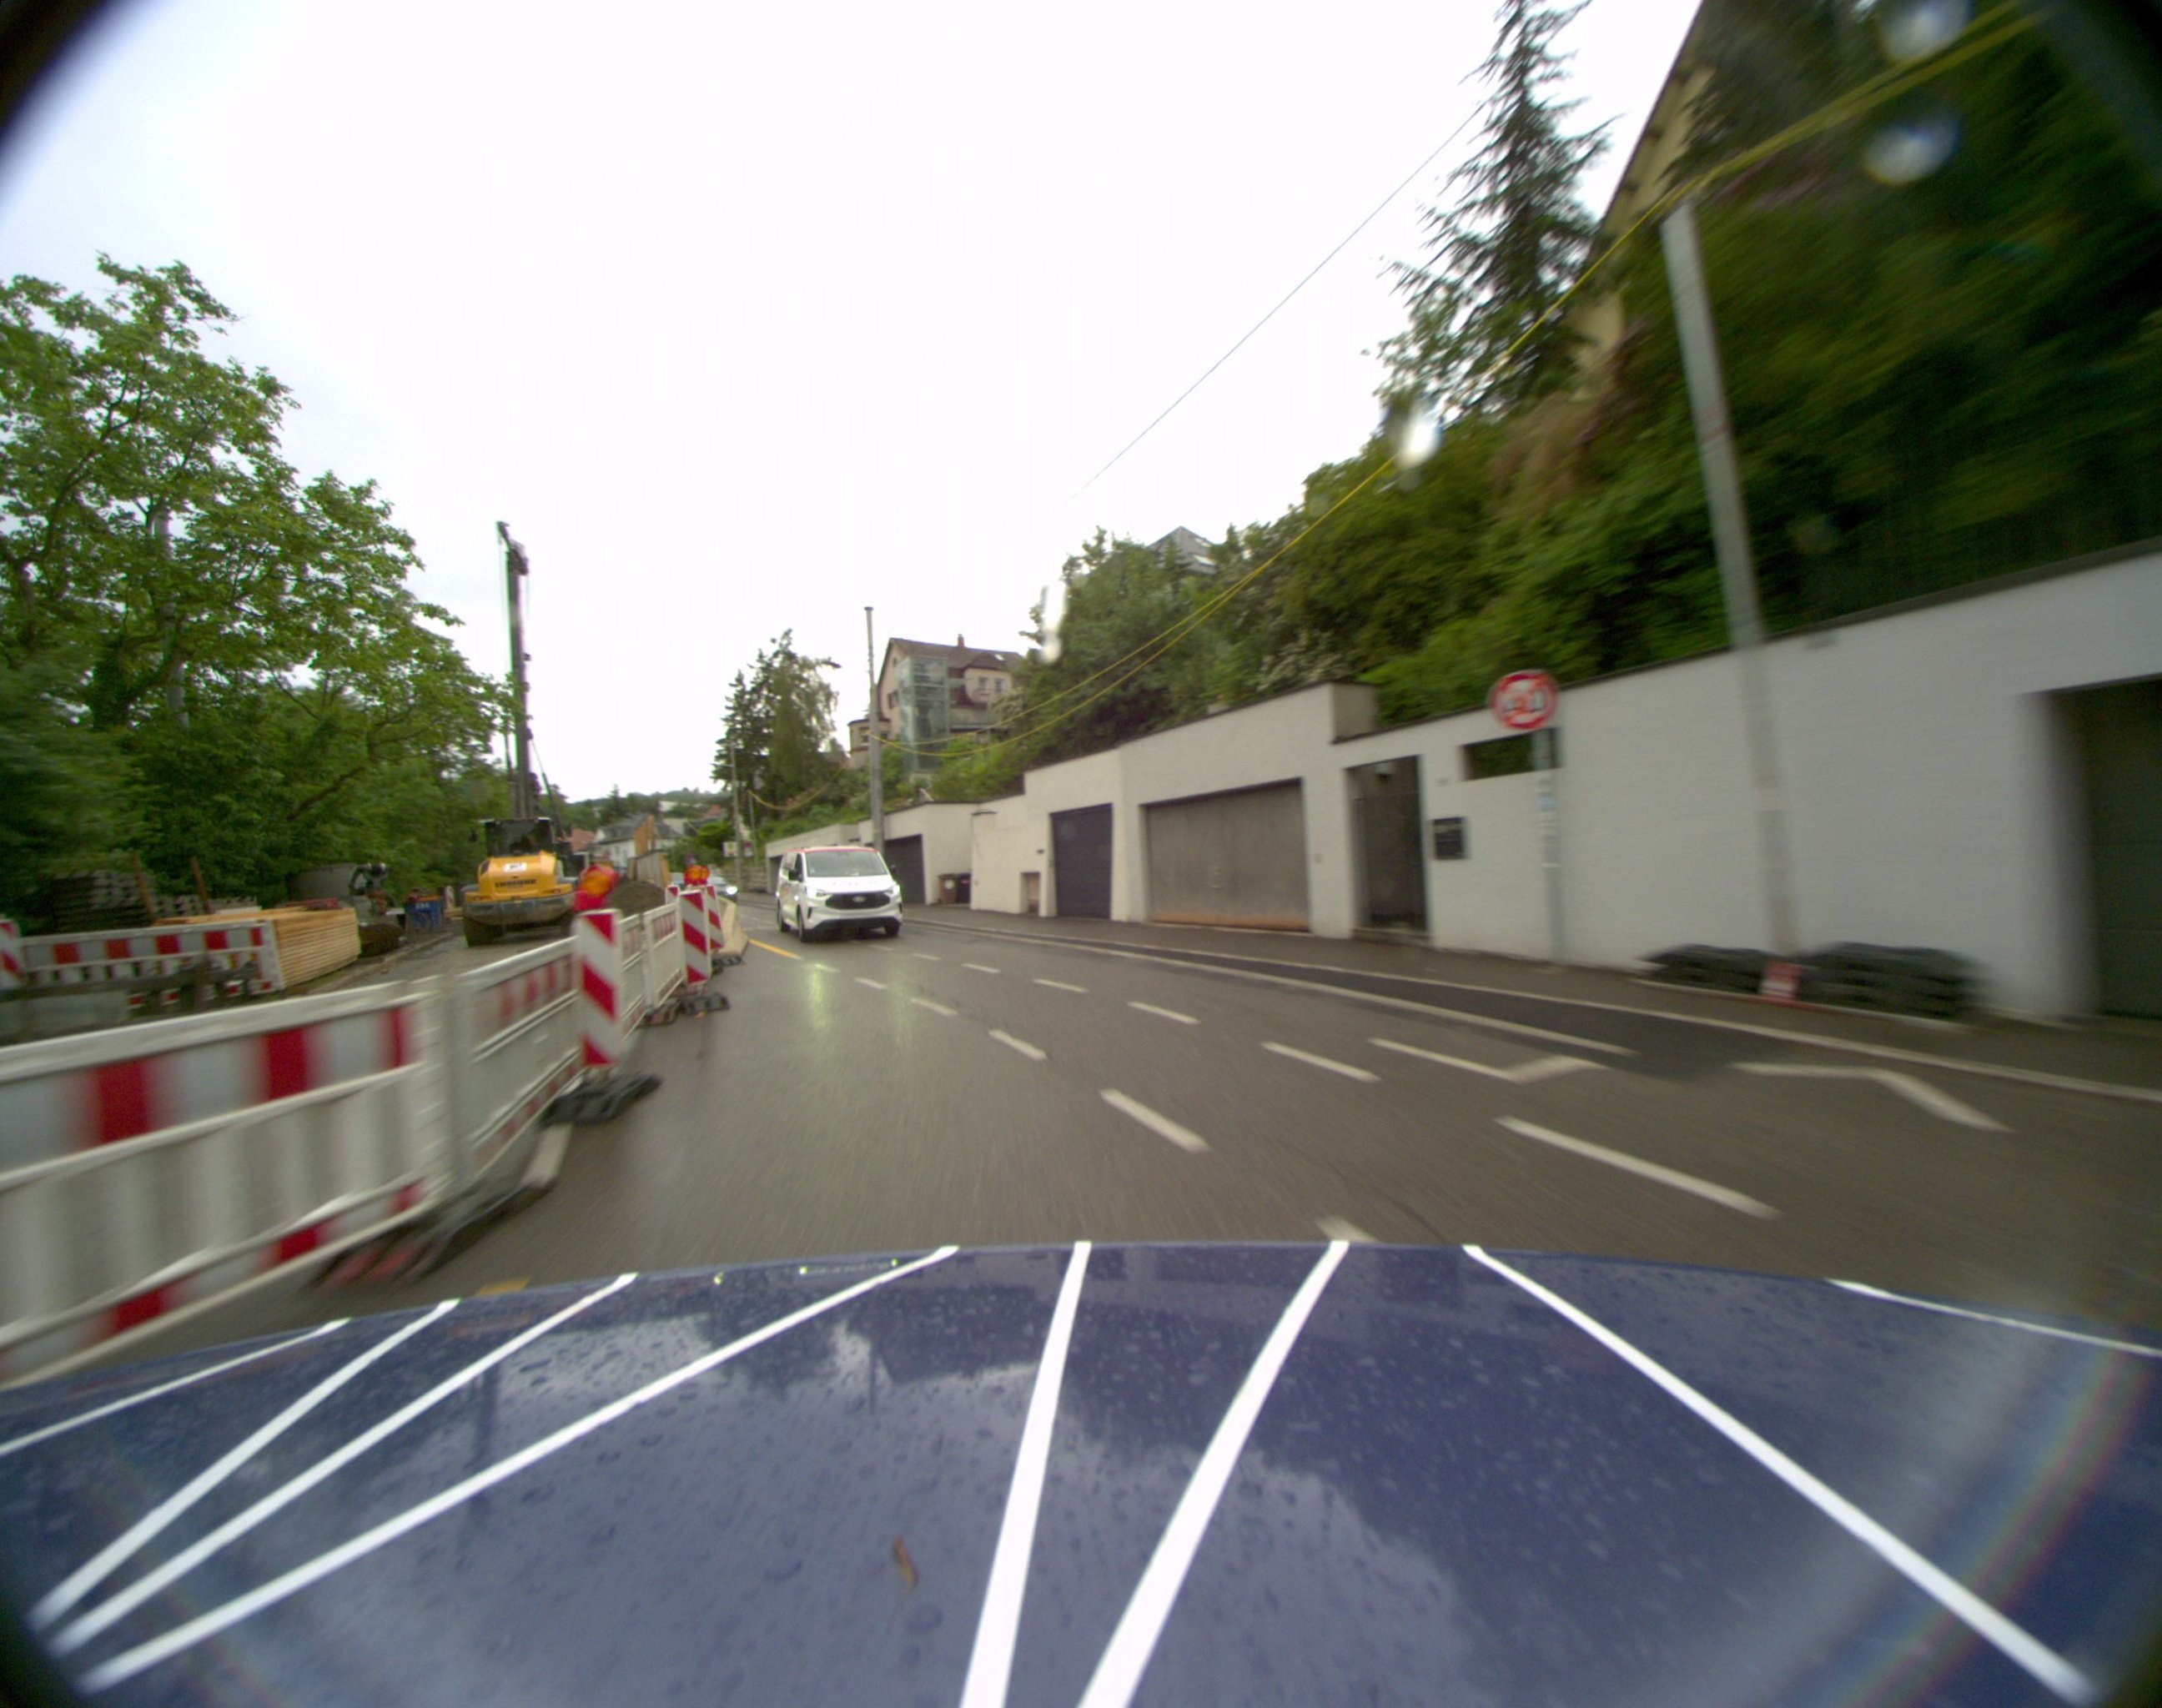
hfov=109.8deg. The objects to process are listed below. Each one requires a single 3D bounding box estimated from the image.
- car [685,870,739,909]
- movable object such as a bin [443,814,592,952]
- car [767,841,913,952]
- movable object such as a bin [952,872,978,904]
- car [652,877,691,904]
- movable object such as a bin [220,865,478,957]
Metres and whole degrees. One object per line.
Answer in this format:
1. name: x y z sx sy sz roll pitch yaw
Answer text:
1. car: -17.767 1.674 36.493 2.002 1.576 3.992 -5 1 -29
2. movable object such as a bin: -14.362 0.628 19.736 2.538 3.050 4.846 -4 2 -32
3. car: -5.515 0.817 16.907 2.003 2.002 4.937 -4 1 -30
4. movable object such as a bin: -3.626 1.050 23.678 0.509 0.925 0.767 -4 2 -30
5. car: -27.784 2.440 51.540 2.003 1.576 3.991 -5 1 -32
6. movable object such as a bin: -19.899 1.443 21.055 4.566 1.990 2.529 -3 2 -30
